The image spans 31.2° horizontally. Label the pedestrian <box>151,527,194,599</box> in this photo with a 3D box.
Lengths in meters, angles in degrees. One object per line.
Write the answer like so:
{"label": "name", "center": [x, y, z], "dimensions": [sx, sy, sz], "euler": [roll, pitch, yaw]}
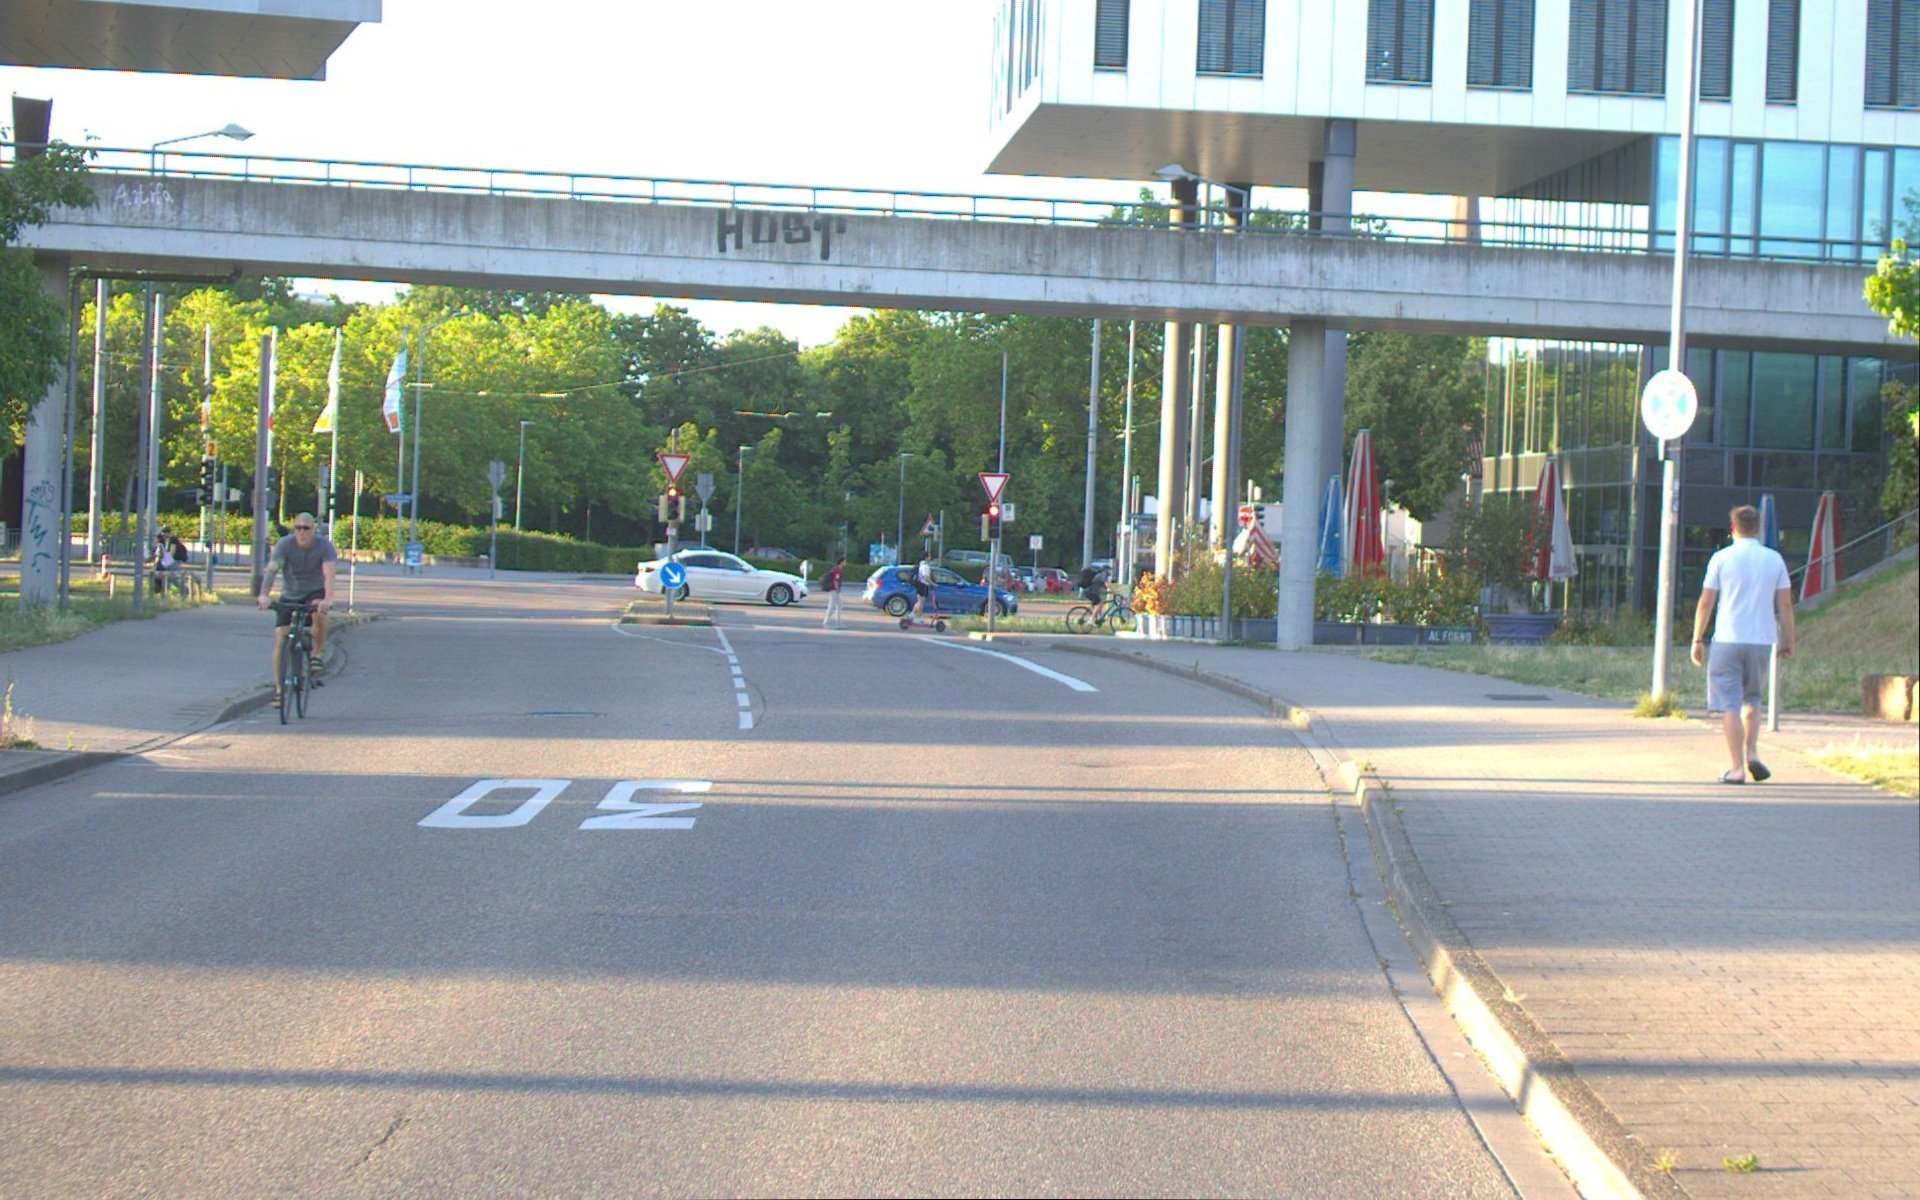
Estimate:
{"label": "pedestrian", "center": [-18.591, -0.876, 81.162], "dimensions": [0.700, 1.658, 0.711], "euler": [3, 2, 14]}

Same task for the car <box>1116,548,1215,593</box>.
{"label": "car", "center": [9.505, -1.370, 159.026], "dimensions": [4.467, 1.810, 1.945], "euler": [2, 2, 2]}

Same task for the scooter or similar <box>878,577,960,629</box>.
{"label": "scooter or similar", "center": [-1.005, 0.072, 84.674], "dimensions": [1.859, 1.170, 0.764], "euler": [2, 2, -12]}

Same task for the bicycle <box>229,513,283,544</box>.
{"label": "bicycle", "center": [-27.281, -2.772, 133.256], "dimensions": [1.962, 1.124, 0.560], "euler": [1, 2, -29]}

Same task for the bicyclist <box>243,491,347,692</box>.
{"label": "bicyclist", "center": [-5.649, -0.087, 29.250], "dimensions": [0.615, 1.657, 1.036], "euler": [2, 2, 1]}

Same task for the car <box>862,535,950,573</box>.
{"label": "car", "center": [-3.000, -2.575, 192.051], "dimensions": [4.685, 1.862, 2.013], "euler": [2, 2, 3]}

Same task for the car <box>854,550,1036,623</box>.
{"label": "car", "center": [-0.423, -0.385, 96.023], "dimensions": [4.712, 1.822, 1.893], "euler": [2, 2, -13]}

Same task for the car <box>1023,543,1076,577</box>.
{"label": "car", "center": [4.507, -2.037, 173.027], "dimensions": [1.499, 1.600, 3.399], "euler": [3, 2, 23]}

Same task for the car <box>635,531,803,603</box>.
{"label": "car", "center": [-6.888, -0.955, 98.441], "dimensions": [4.686, 1.822, 1.835], "euler": [2, 2, -3]}

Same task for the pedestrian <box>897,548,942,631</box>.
{"label": "pedestrian", "center": [-1.001, -0.273, 84.651], "dimensions": [0.908, 1.983, 0.772], "euler": [2, 2, -12]}

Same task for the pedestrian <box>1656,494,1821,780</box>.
{"label": "pedestrian", "center": [4.973, 0.221, 22.012], "dimensions": [0.831, 1.760, 0.818], "euler": [2, 2, 4]}

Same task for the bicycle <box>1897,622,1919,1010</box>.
{"label": "bicycle", "center": [3.132, 0.696, 9.737], "dimensions": [0.450, 1.164, 1.941], "euler": [2, 2, 2]}

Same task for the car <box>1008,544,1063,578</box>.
{"label": "car", "center": [3.720, -1.937, 169.419], "dimensions": [1.499, 1.600, 3.399], "euler": [3, 2, 23]}

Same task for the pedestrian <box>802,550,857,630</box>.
{"label": "pedestrian", "center": [-3.107, -0.234, 81.627], "dimensions": [1.053, 1.827, 0.896], "euler": [2, 2, -17]}

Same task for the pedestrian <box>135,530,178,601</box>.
{"label": "pedestrian", "center": [-18.801, -0.820, 80.406], "dimensions": [0.686, 1.618, 0.711], "euler": [3, 2, 14]}

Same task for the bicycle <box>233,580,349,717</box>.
{"label": "bicycle", "center": [-5.663, 0.394, 29.178], "dimensions": [0.538, 1.039, 1.925], "euler": [2, 2, 1]}

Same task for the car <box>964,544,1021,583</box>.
{"label": "car", "center": [1.567, -1.774, 165.182], "dimensions": [1.499, 1.754, 3.399], "euler": [3, 2, 23]}

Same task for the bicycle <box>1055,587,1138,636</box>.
{"label": "bicycle", "center": [3.358, 0.278, 84.570], "dimensions": [1.970, 1.088, 0.622], "euler": [2, 2, 0]}

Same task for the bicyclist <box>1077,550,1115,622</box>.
{"label": "bicyclist", "center": [3.338, -0.342, 84.542], "dimensions": [0.860, 1.725, 0.605], "euler": [2, 2, 1]}
